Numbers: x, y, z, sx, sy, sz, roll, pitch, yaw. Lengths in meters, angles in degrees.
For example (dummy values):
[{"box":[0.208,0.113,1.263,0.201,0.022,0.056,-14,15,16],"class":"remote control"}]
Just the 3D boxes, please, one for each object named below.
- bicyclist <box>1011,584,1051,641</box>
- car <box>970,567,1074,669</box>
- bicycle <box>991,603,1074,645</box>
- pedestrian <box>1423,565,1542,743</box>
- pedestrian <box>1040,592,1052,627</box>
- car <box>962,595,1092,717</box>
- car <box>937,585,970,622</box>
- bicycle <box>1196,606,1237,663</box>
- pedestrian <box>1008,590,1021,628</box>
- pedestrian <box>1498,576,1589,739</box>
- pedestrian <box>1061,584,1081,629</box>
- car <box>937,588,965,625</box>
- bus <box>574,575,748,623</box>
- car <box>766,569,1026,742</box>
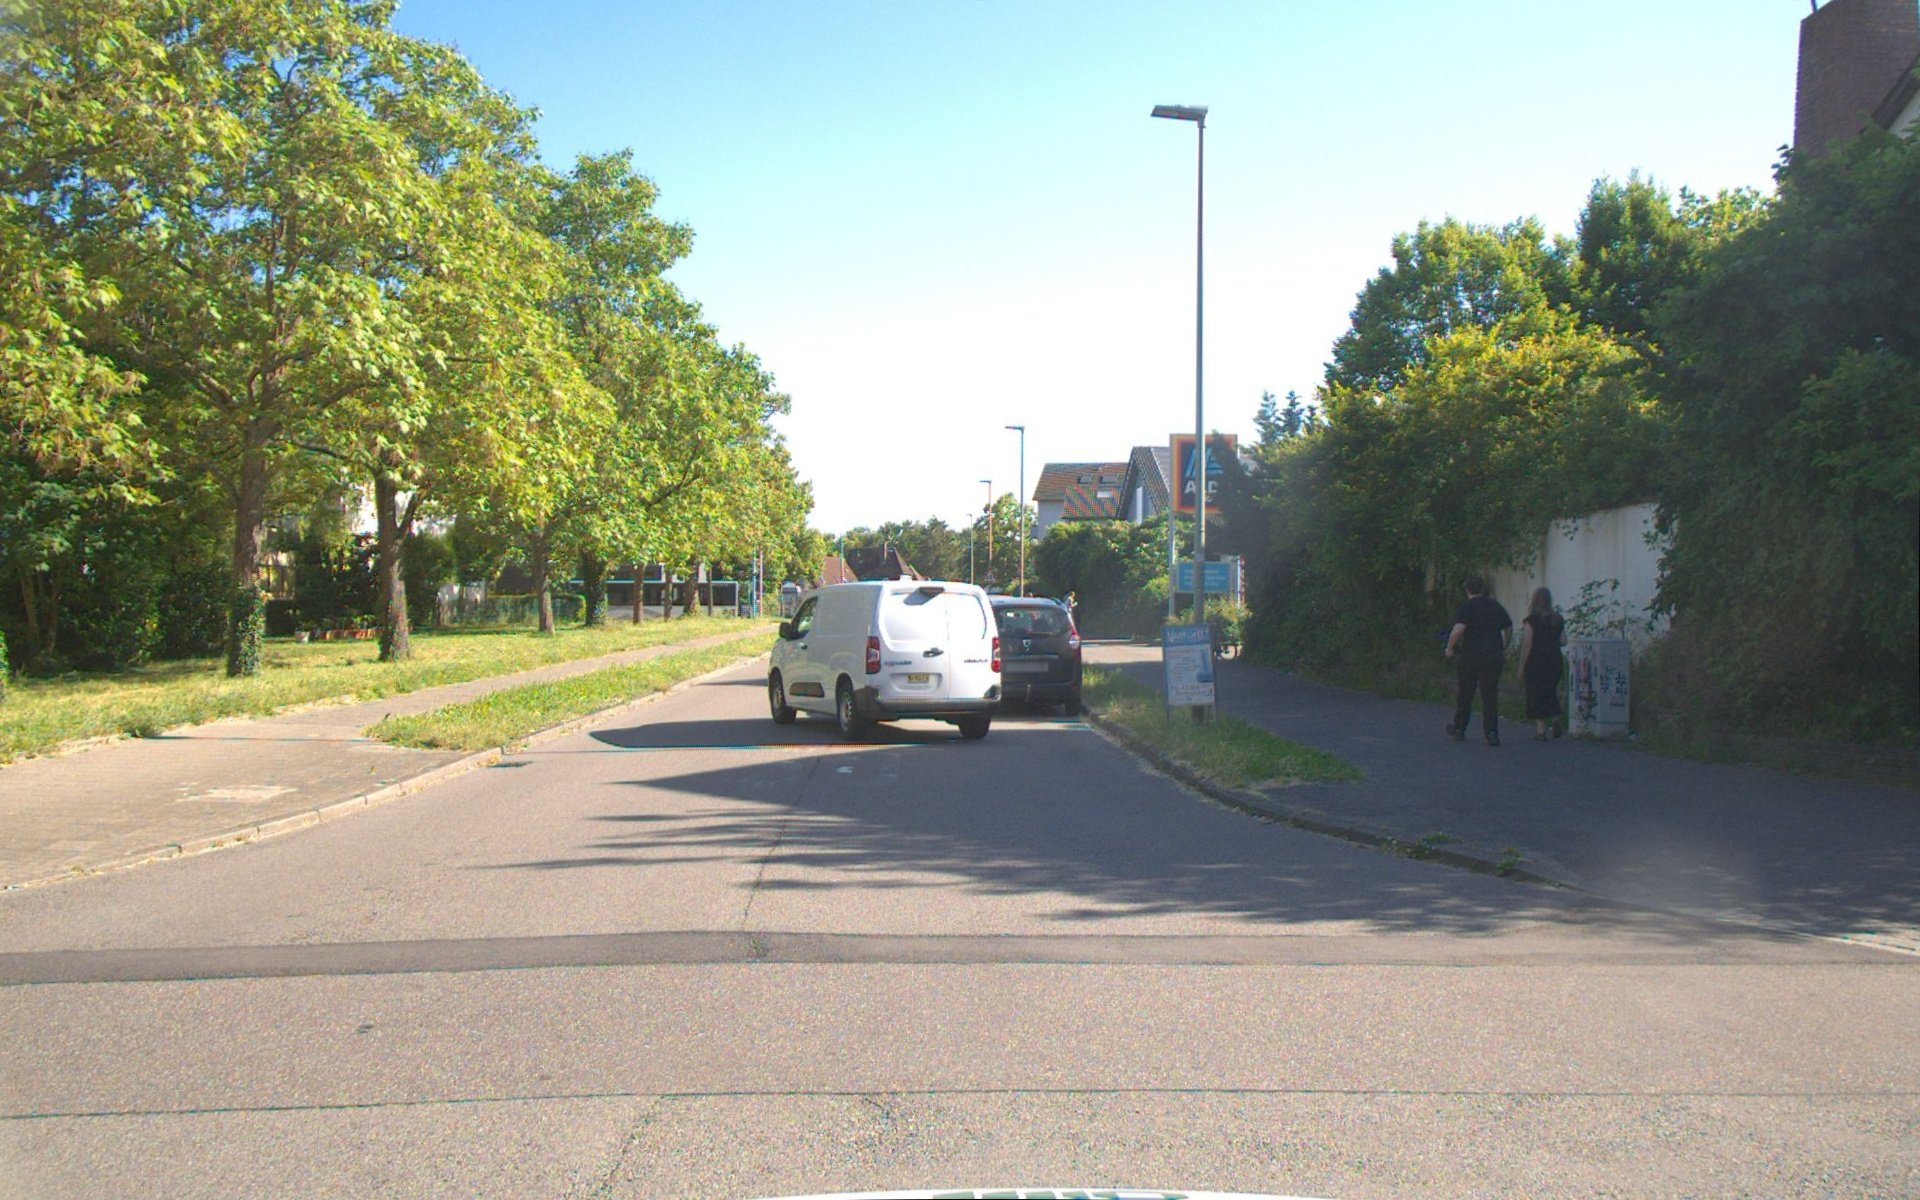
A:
[{"box":[2.051,0.366,47.828,0.943,1.612,0.909,0,-1,18],"class":"bicyclist"},{"box":[1.134,0.325,32.173,1.802,1.837,4.653,0,0,0],"class":"car"},{"box":[2.093,0.695,47.744,2.224,1.158,0.790,-1,-1,18],"class":"bicycle"},{"box":[5.349,0.551,16.985,0.788,1.747,0.983,-2,-1,-5],"class":"pedestrian"},{"box":[4.038,0.443,77.960,0.555,1.665,0.547,0,0,4],"class":"pedestrian"},{"box":[0.933,0.770,25.156,1.690,1.685,4.351,0,0,-2],"class":"car"},{"box":[-0.353,0.187,87.707,1.689,1.869,3.999,0,0,0],"class":"car"},{"box":[5.796,0.776,37.295,0.705,1.242,1.897,-2,-1,14],"class":"bicycle"},{"box":[2.433,0.399,74.334,0.555,1.665,0.547,0,0,4],"class":"pedestrian"},{"box":[6.071,0.593,17.233,0.562,1.637,0.791,-2,-1,-5],"class":"pedestrian"},{"box":[4.520,0.257,67.467,0.781,1.813,0.809,0,0,7],"class":"pedestrian"},{"box":[-0.696,0.520,121.584,1.829,2.607,4.765,2,-1,-3],"class":"car"},{"box":[-18.527,-0.079,102.537,10.386,2.874,3.034,0,-1,-17],"class":"bus"},{"box":[-0.923,0.607,20.638,1.965,1.915,4.261,0,0,-21],"class":"car"}]
